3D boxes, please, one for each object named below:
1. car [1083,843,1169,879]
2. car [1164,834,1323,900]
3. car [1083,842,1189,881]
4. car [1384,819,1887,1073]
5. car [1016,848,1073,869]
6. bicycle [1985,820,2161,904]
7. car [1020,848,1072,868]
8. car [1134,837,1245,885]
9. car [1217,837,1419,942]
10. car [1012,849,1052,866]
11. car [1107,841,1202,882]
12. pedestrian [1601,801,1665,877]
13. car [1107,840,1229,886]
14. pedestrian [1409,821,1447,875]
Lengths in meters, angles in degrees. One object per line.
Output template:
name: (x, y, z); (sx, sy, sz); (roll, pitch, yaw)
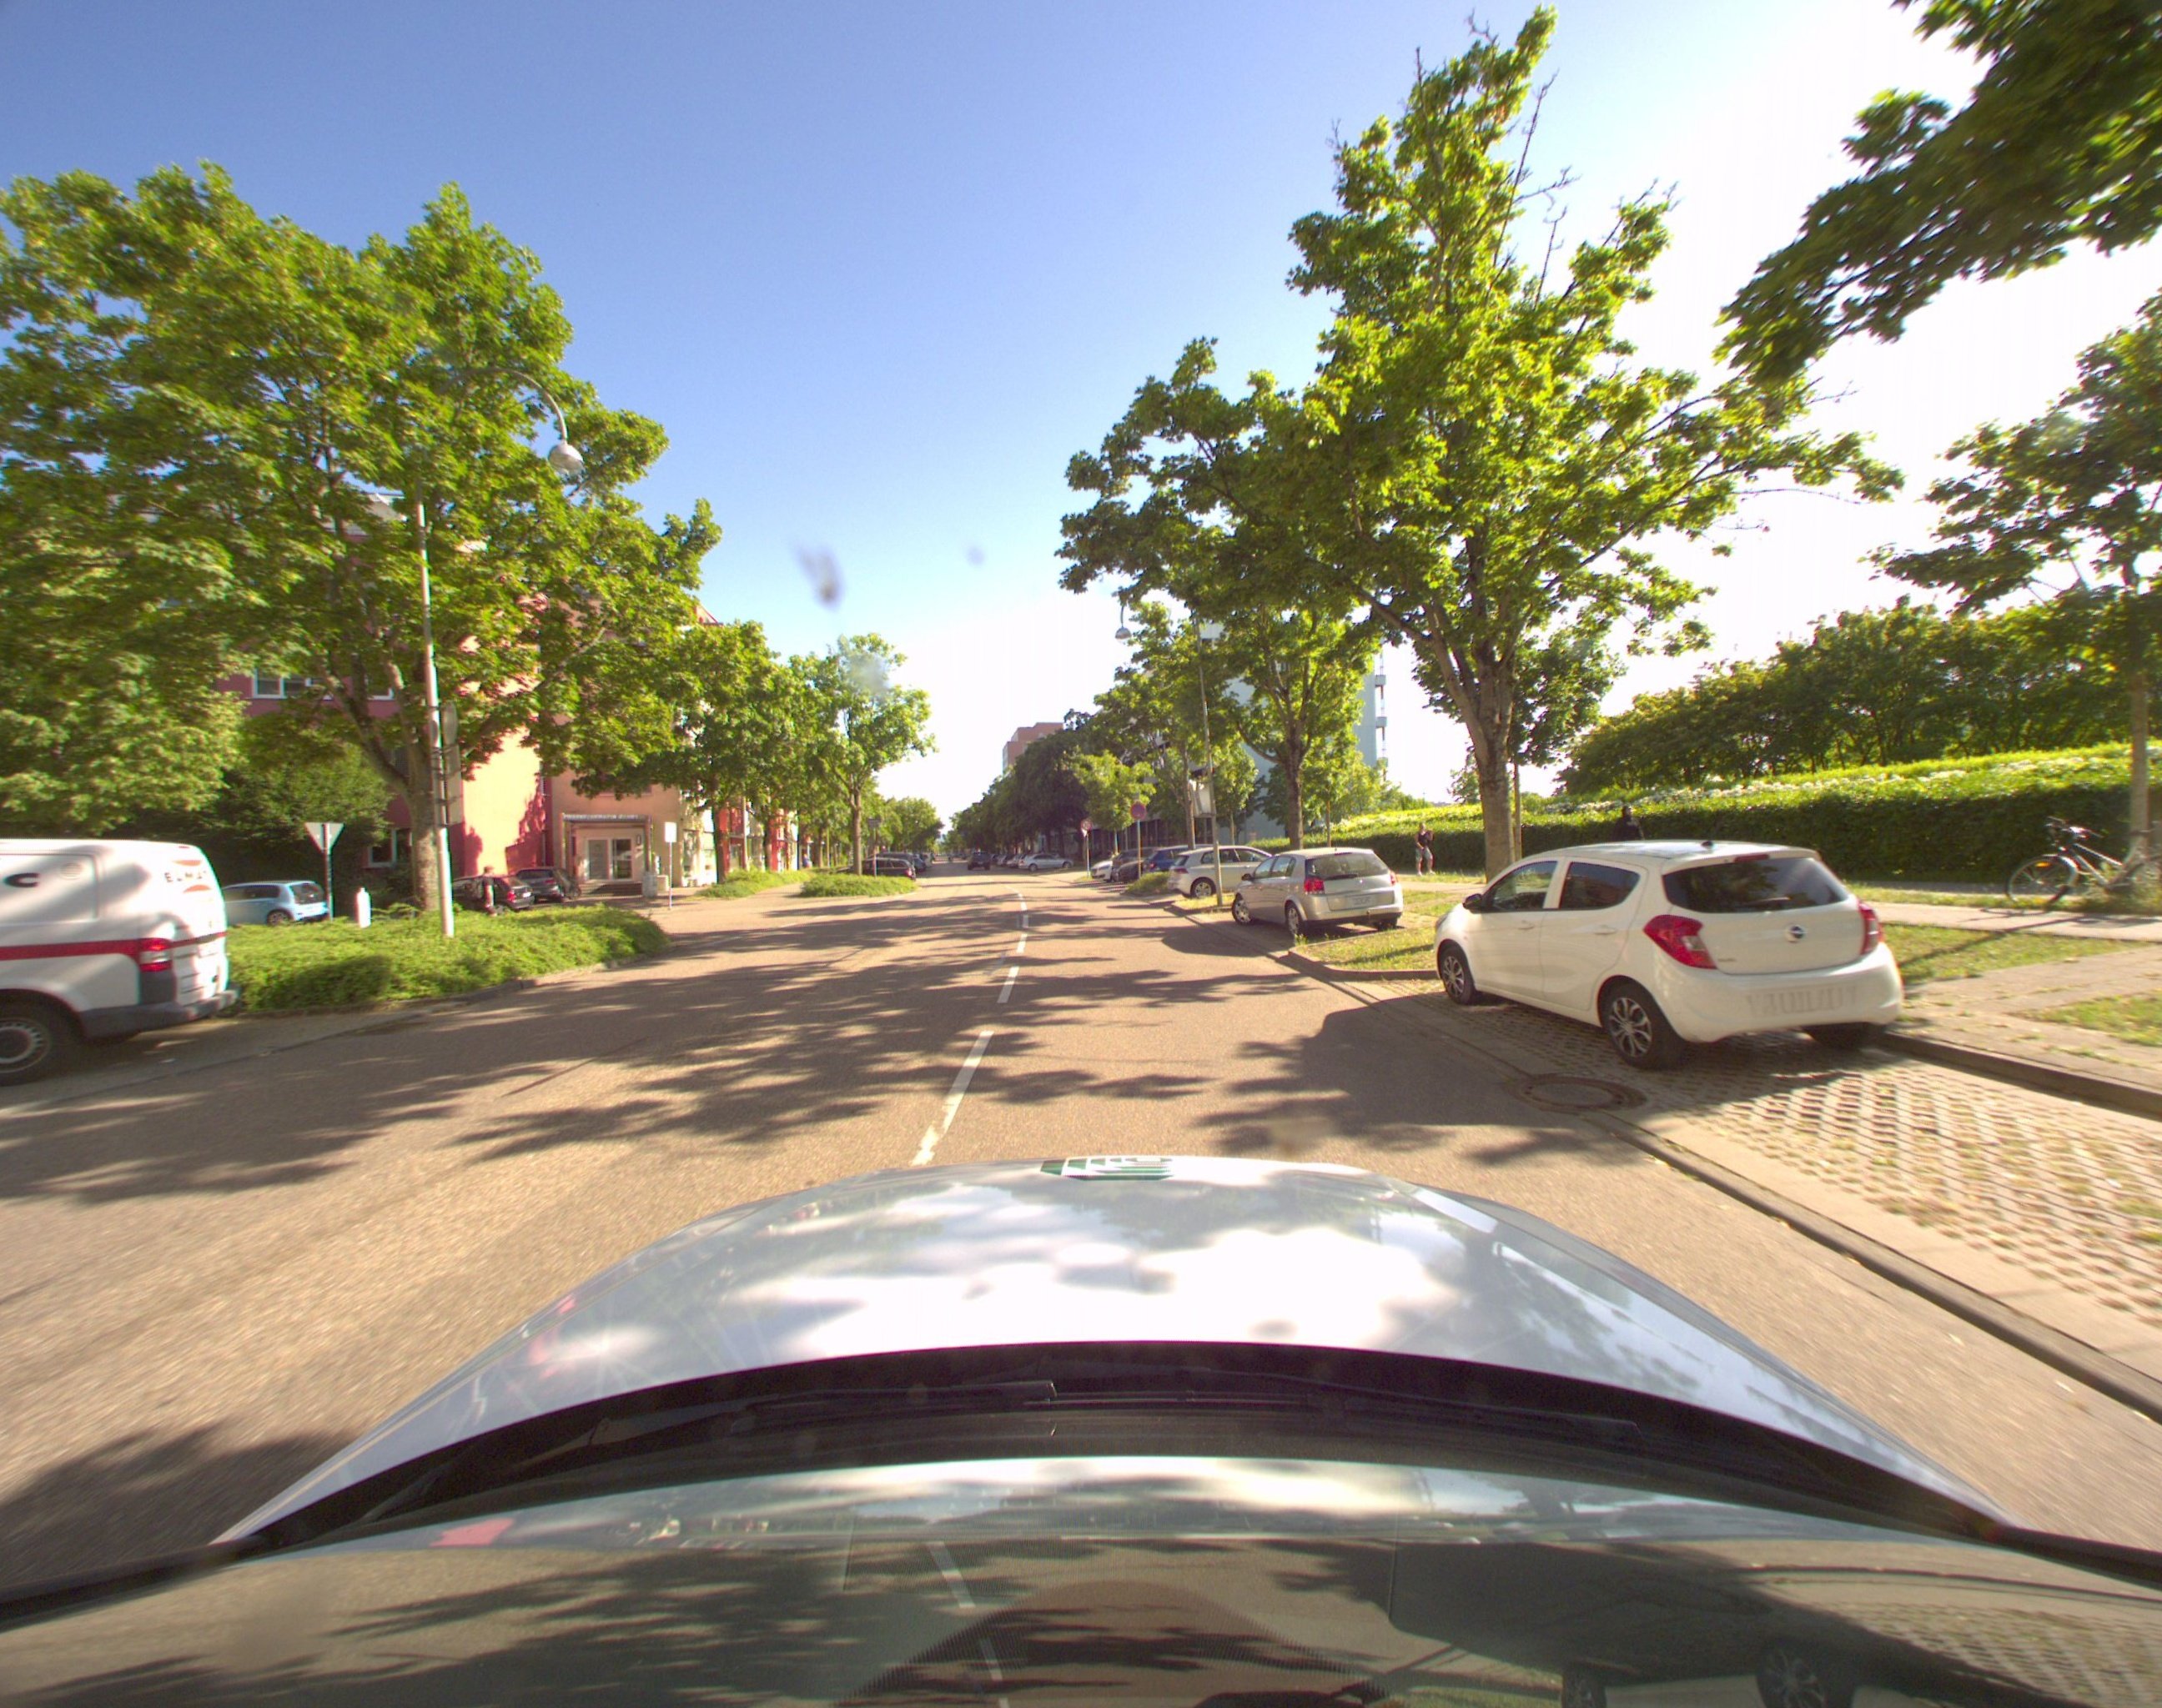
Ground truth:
car: (2.296, 0.363, 41.512); (3.957, 1.515, 1.692); (-4, 0, -17)
car: (4.581, 0.358, 23.281); (4.081, 1.429, 1.640); (-6, 0, -4)
car: (2.612, 0.361, 38.934); (4.560, 1.515, 1.971); (-4, 0, -17)
car: (4.281, 0.579, 7.112); (1.639, 1.493, 3.762); (-4, 0, -2)
car: (-3.065, 0.357, 68.577); (4.578, 1.475, 1.741); (-4, 0, -10)
bicycle: (11.181, 0.089, 9.093); (0.348, 0.866, 1.399); (-3, 0, -22)
car: (-3.218, 0.344, 73.986); (4.510, 1.542, 1.917); (-3, 0, -7)
car: (4.122, 0.258, 31.243); (3.804, 1.448, 1.739); (-6, 0, -9)
car: (4.076, 0.552, 14.927); (1.807, 1.493, 4.612); (-4, 0, -7)
car: (-4.993, 0.383, 82.992); (3.749, 1.493, 1.609); (-3, 0, -15)
car: (3.255, 0.344, 36.454); (3.876, 1.515, 1.745); (-4, 0, -10)
pedestrian: (11.946, -0.323, 17.640); (0.723, 1.588, 0.850); (-2, 0, -8)
car: (3.569, 0.346, 33.926); (4.550, 1.515, 2.151); (-4, 0, -10)
pedestrian: (10.344, -0.183, 24.277); (0.606, 1.542, 0.934); (-2, 0, -8)
